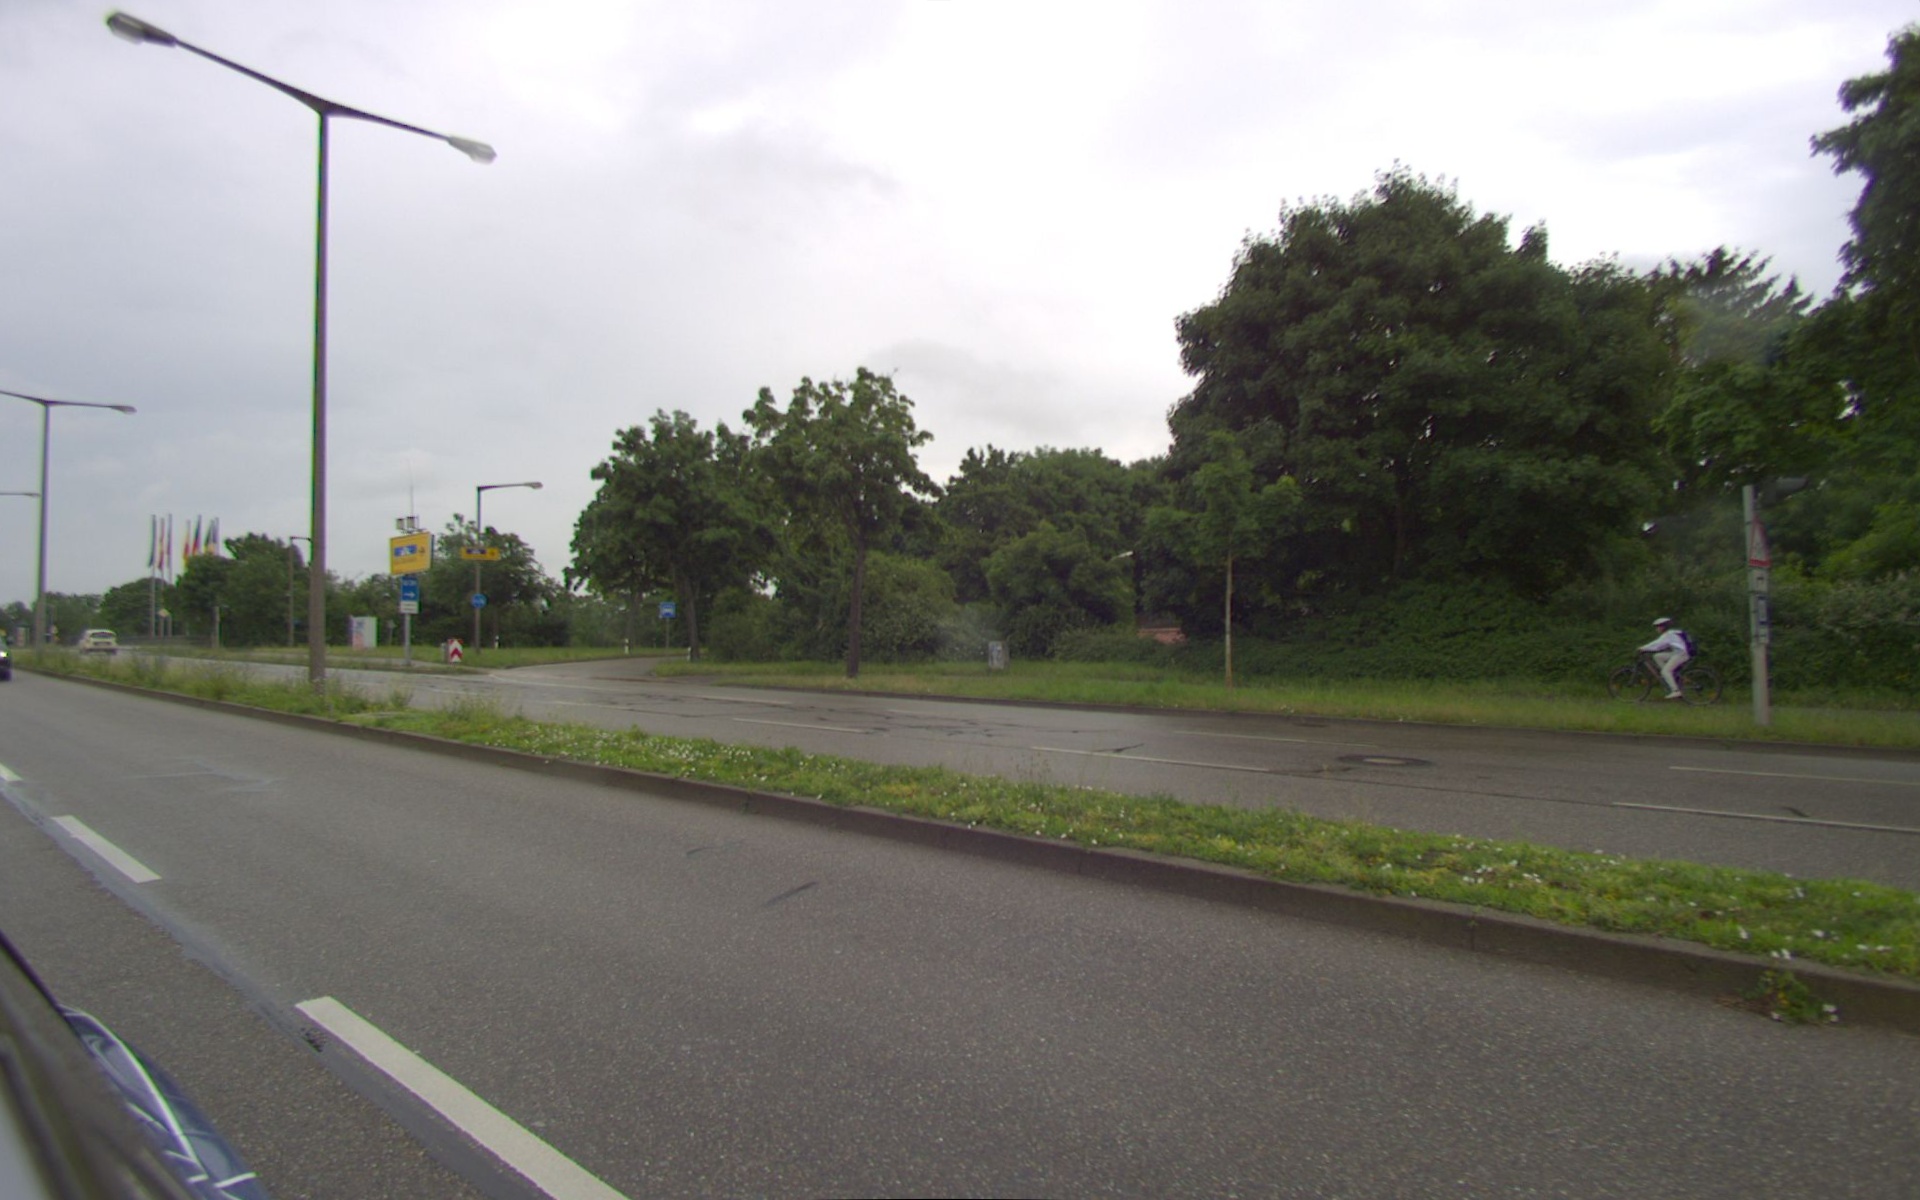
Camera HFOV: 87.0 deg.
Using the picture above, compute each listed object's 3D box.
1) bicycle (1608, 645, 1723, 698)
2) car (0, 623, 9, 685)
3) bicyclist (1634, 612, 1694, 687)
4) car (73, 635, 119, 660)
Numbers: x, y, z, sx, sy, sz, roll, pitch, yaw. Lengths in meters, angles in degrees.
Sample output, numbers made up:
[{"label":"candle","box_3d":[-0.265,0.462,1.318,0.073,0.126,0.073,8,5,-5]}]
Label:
[{"label":"bicycle","box_3d":[12.753,1.268,18.325,1.633,0.892,0.516,-2,-1,42]},{"label":"car","box_3d":[-29.507,1.605,29.568,4.811,1.764,1.828,-2,-2,38]},{"label":"bicyclist","box_3d":[12.747,0.883,18.326,0.808,1.312,0.516,-2,-1,42]},{"label":"car","box_3d":[-58.669,3.199,68.659,4.490,1.642,1.689,-2,-4,41]}]
